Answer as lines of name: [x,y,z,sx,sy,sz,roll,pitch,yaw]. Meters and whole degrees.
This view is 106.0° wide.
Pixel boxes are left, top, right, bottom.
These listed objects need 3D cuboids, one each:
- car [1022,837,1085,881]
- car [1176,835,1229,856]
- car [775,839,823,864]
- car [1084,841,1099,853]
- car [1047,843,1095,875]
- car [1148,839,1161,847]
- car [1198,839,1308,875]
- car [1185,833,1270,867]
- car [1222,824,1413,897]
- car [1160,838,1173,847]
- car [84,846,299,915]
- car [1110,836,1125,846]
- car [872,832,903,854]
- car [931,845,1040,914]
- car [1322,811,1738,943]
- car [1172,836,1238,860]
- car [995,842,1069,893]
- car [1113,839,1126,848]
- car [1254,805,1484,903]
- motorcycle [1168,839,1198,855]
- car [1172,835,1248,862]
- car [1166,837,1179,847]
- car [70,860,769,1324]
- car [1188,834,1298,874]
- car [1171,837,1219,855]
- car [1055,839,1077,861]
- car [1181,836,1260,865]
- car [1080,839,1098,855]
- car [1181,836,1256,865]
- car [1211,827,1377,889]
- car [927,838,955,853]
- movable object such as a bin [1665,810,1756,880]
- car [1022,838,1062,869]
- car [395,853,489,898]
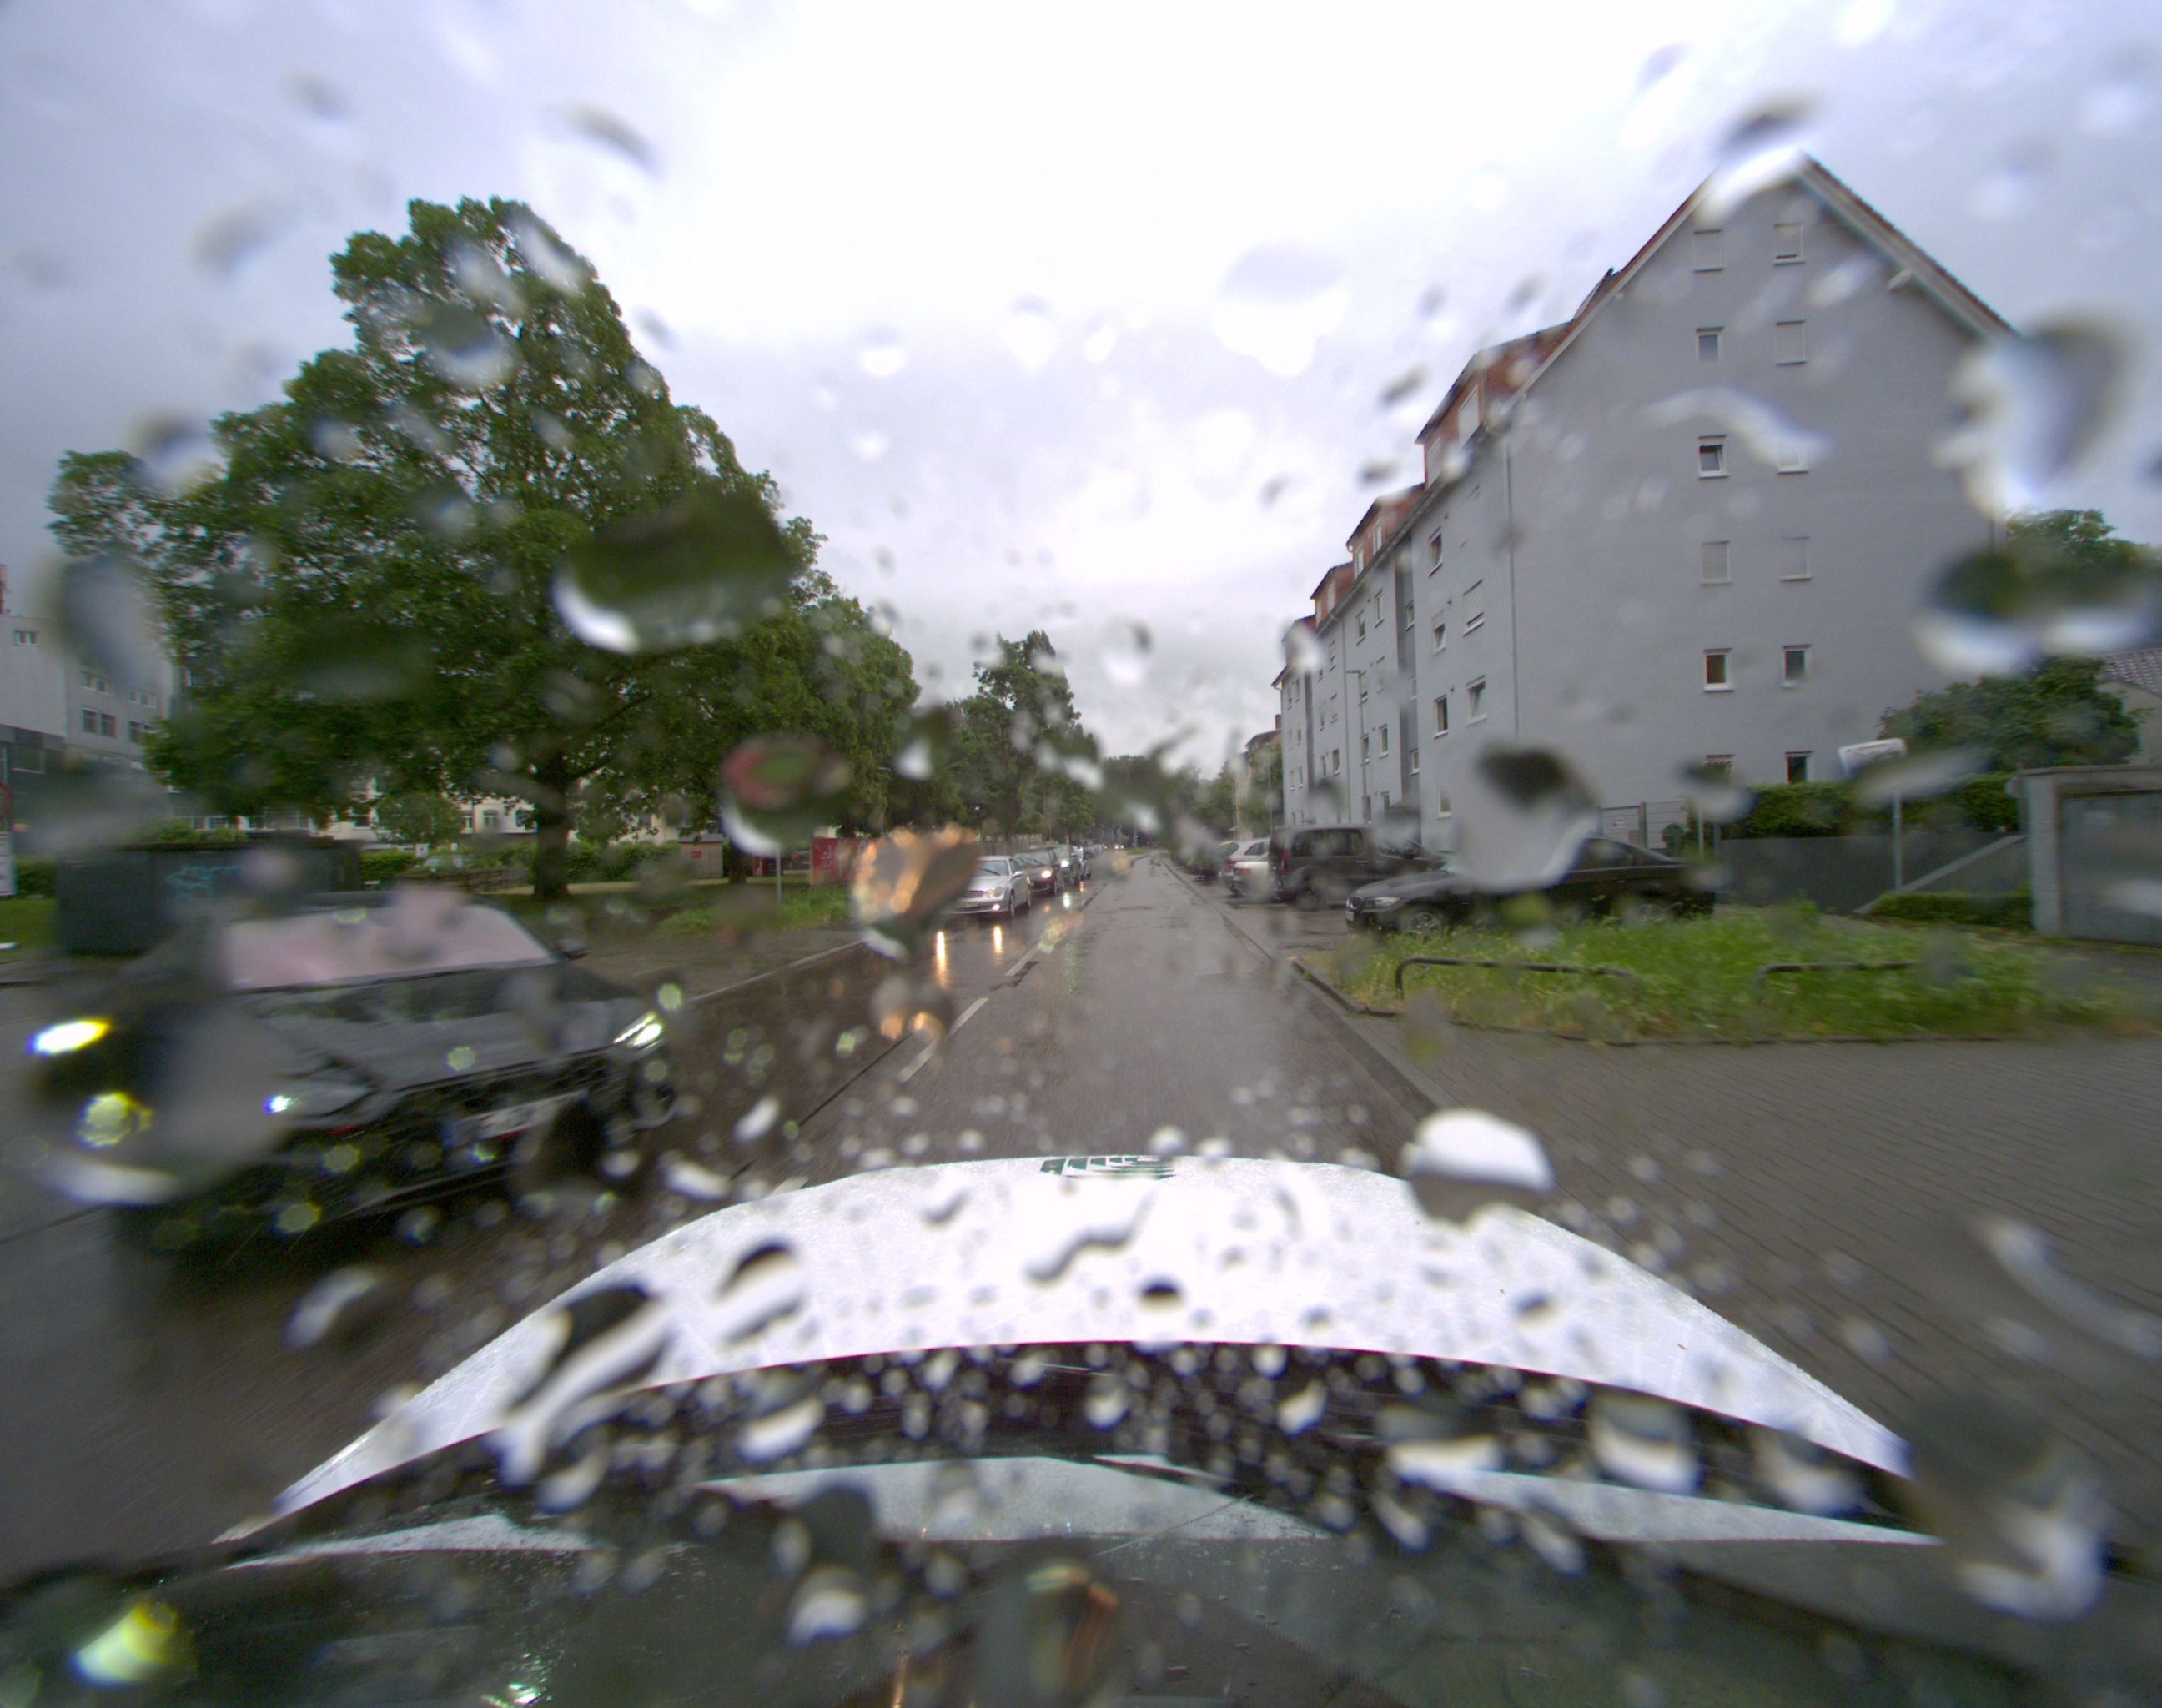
car: [-1.026,0.168,33.299,1.905,1.639,4.829,-1,1,6]
car: [9.487,-0.645,63.885,3.971,1.552,1.906,-1,0,2]
car: [-19.022,-0.138,54.862,2.008,1.557,3.957,-2,0,-35]
car: [1.386,-0.916,105.637,1.922,1.484,4.001,-2,1,1]
car: [-0.436,0.189,39.322,1.663,1.382,4.262,-2,1,8]
car: [14.254,-2.172,158.643,1.846,1.524,3.993,-2,1,-5]
car: [6.327,0.093,30.353,3.835,1.207,1.959,-2,1,6]
car: [7.279,-0.202,40.756,3.971,1.552,1.854,-1,0,2]
car: [5.714,0.148,20.088,4.173,1.568,1.890,-2,0,2]
car: [15.234,-2.067,144.790,1.843,1.524,4.154,-2,1,0]
car: [-22.699,0.577,21.072,2.002,1.526,4.401,-2,1,-22]
car: [7.798,-2.776,172.677,1.997,2.013,3.980,-2,1,-15]
car: [-18.657,-1.042,78.519,2.005,2.122,3.964,-1,1,-28]
car: [-2.096,0.499,19.312,1.767,1.403,4.834,-1,1,3]
car: [5.812,0.284,11.056,4.513,1.470,1.986,-2,0,4]
car: [8.241,-0.391,54.053,4.243,1.454,1.990,-1,2,9]
car: [-1.491,0.363,26.464,1.771,1.420,4.271,-2,1,4]
car: [7.734,-2.154,164.660,1.741,1.689,3.985,-1,1,-11]
car: [6.047,-0.002,17.506,4.217,1.805,1.945,-3,0,0]
motorcycle: [8.600,-0.581,68.416,2.391,1.324,0.919,-1,0,-1]
car: [7.743,-0.324,49.107,4.322,1.552,2.042,-1,0,3]
car: [14.661,-1.950,130.739,1.842,1.524,4.003,-2,1,3]
car: [-4.298,0.848,4.985,4.864,1.453,2.100,-1,1,36]
car: [6.460,-0.013,32.893,4.125,1.486,2.015,-1,0,3]
car: [9.942,-0.727,71.216,3.968,1.461,1.937,-1,0,4]
car: [-1.132,-0.300,62.516,1.620,1.598,4.199,-1,1,-1]
car: [7.386,-0.167,43.368,3.970,1.442,1.783,-1,0,3]
car: [0.848,-0.794,90.821,1.771,1.529,3.997,-1,2,-3]
car: [7.704,-0.217,45.962,4.077,1.458,2.003,-1,1,5]
car: [5.834,0.102,22.701,4.164,1.571,1.892,-1,0,3]
car: [-13.956,-0.791,80.931,1.714,1.434,3.617,-1,1,-27]
movable object such as a bin: [12.953,-0.190,16.797,1.227,1.377,0.825,-1,1,11]
car: [-2.258,-0.087,48.261,1.767,1.679,4.607,1,1,4]
car: [-24.905,0.776,31.897,1.804,1.583,3.970,-2,1,-22]
